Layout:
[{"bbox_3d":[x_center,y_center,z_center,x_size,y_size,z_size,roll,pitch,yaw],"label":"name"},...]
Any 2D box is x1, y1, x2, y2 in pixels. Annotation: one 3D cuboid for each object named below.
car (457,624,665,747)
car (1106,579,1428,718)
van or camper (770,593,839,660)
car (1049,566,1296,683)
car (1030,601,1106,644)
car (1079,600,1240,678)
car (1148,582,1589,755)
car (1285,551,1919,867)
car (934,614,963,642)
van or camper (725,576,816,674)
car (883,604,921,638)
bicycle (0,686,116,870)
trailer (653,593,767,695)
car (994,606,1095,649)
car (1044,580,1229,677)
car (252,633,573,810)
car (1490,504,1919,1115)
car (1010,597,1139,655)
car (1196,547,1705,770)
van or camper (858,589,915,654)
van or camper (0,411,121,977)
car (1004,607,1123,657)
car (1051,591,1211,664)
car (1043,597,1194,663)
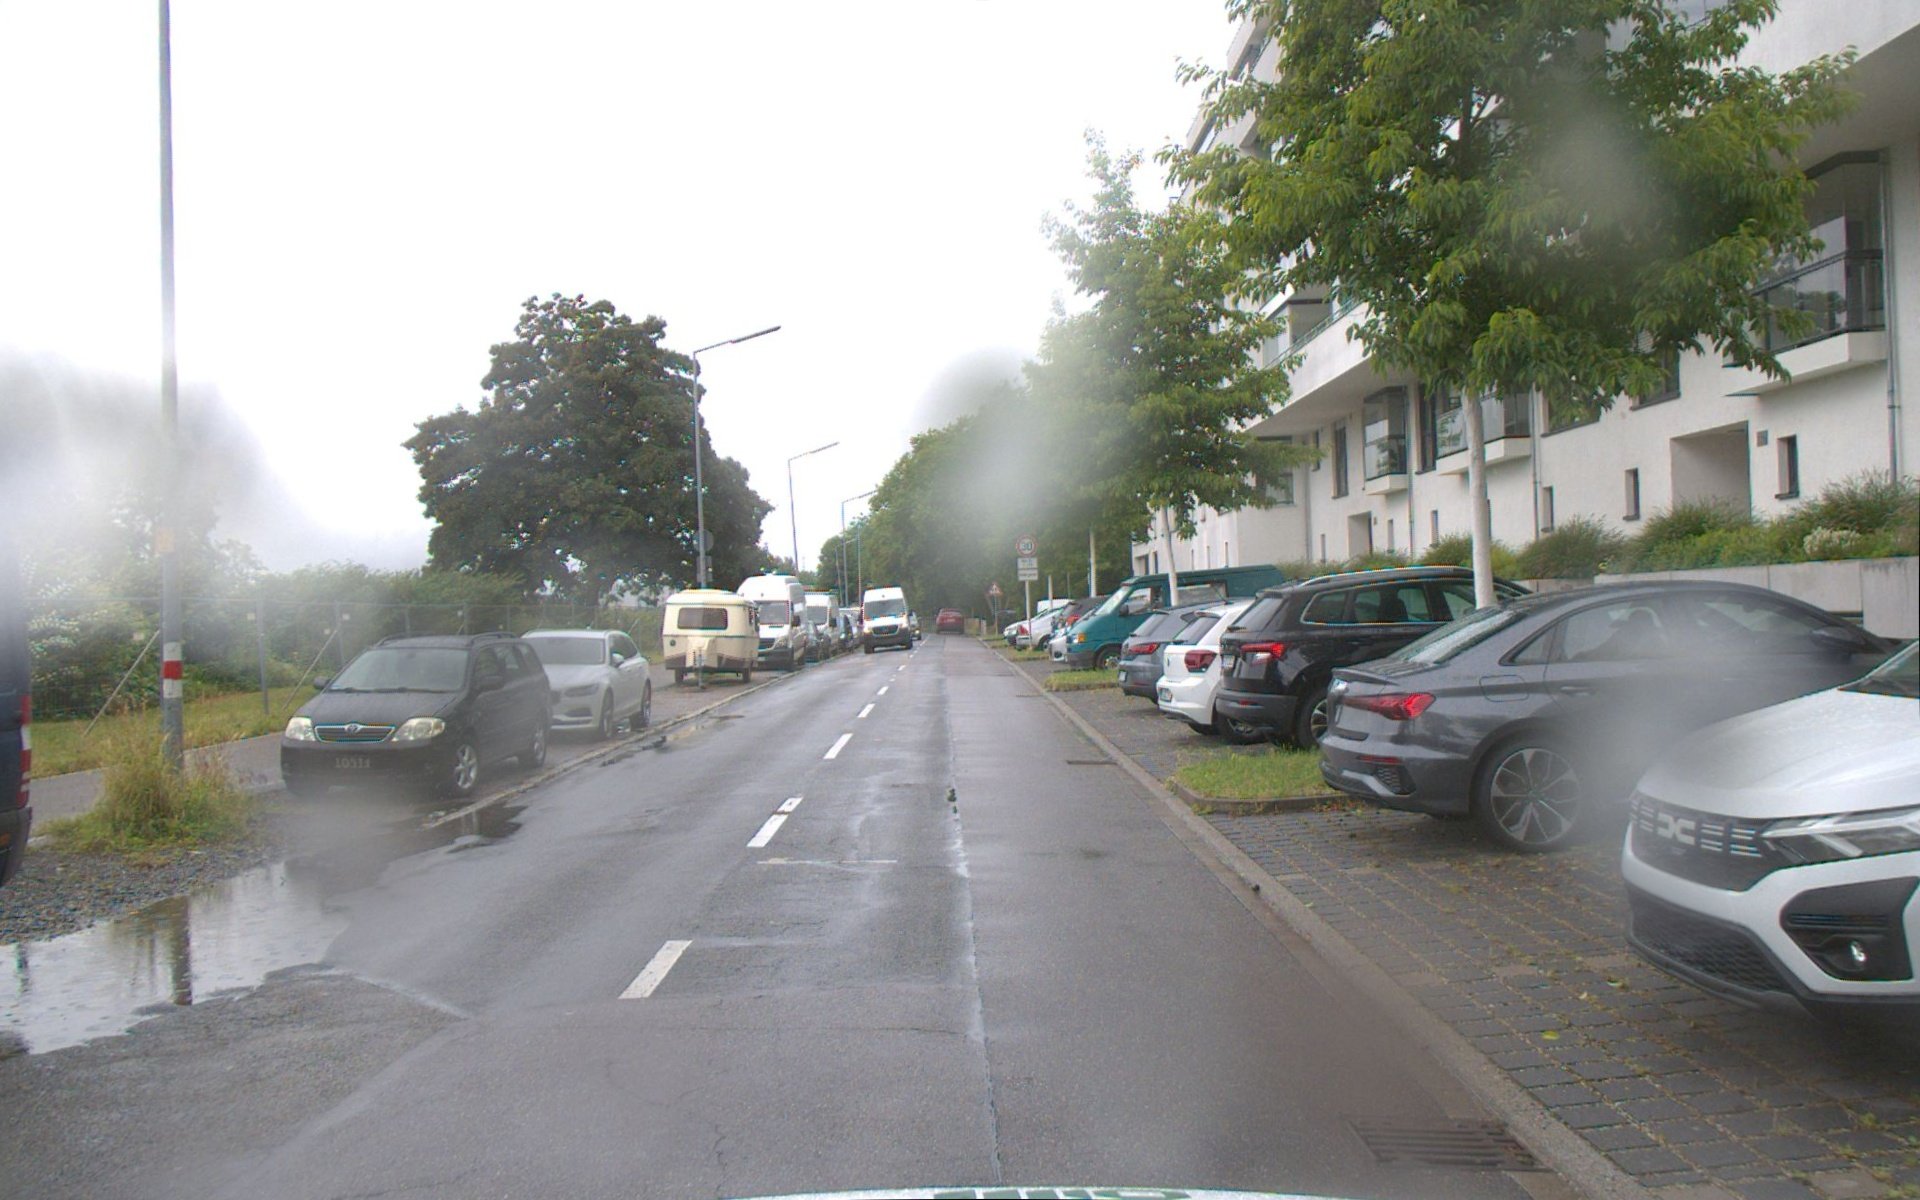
[{"bbox_3d":[-5.584,1.142,23.837,1.848,1.552,5.108,0,-1,-1],"label":"car"},{"bbox_3d":[4.098,0.641,22.456,3.951,1.525,1.630,-4,-1,-4],"label":"car"},{"bbox_3d":[-6.126,1.048,65.939,2.144,2.505,6.376,-1,-1,0],"label":"van or camper"},{"bbox_3d":[4.182,0.476,32.980,4.528,2.055,1.856,-2,-1,-5],"label":"car"},{"bbox_3d":[6.072,1.271,93.311,3.904,2.333,1.777,-2,-1,20],"label":"car"},{"bbox_3d":[4.234,0.815,35.361,3.189,1.508,1.317,-2,0,-2],"label":"car"},{"bbox_3d":[4.271,0.702,17.683,4.214,1.453,1.636,-4,-1,-3],"label":"car"},{"bbox_3d":[4.183,0.601,10.272,3.907,1.536,1.684,-4,0,-1],"label":"car"},{"bbox_3d":[-0.719,1.838,108.374,1.720,1.735,4.000,-3,-1,1],"label":"car"},{"bbox_3d":[-5.847,0.777,51.985,1.953,2.810,7.897,-1,-1,0],"label":"van or camper"},{"bbox_3d":[-3.216,1.159,91.662,1.843,1.788,4.068,-2,-1,1],"label":"car"},{"bbox_3d":[-6.862,1.245,11.099,0.680,1.170,2.683,-1,0,9],"label":"bicycle"},{"bbox_3d":[-5.942,1.005,39.960,2.017,2.257,5.792,-1,-1,-2],"label":"trailer"},{"bbox_3d":[3.579,1.164,70.570,4.015,1.602,1.865,-2,-1,-8],"label":"car"},{"bbox_3d":[4.024,0.642,38.142,4.010,1.927,1.726,-4,0,0],"label":"car"},{"bbox_3d":[-5.484,1.142,17.284,1.737,1.529,4.827,0,-1,0],"label":"car"},{"bbox_3d":[4.445,0.422,5.860,4.388,1.716,1.935,-6,0,-2],"label":"car"},{"bbox_3d":[3.991,0.891,58.108,4.299,1.807,2.005,-3,-1,-1],"label":"car"},{"bbox_3d":[4.460,0.516,15.464,4.080,1.652,1.896,-4,-1,-3],"label":"car"},{"bbox_3d":[-3.073,0.897,70.636,1.953,2.540,7.177,-3,-1,0],"label":"van or camper"},{"bbox_3d":[-5.625,0.409,5.454,2.052,2.763,7.570,0,-1,-2],"label":"van or camper"},{"bbox_3d":[3.896,1.187,62.606,4.299,1.662,2.005,-3,-1,-1],"label":"car"},{"bbox_3d":[4.424,0.710,43.132,3.808,1.711,1.861,-2,-1,-6],"label":"car"},{"bbox_3d":[4.346,0.823,45.714,3.808,1.628,1.861,-2,-1,-6],"label":"car"}]
